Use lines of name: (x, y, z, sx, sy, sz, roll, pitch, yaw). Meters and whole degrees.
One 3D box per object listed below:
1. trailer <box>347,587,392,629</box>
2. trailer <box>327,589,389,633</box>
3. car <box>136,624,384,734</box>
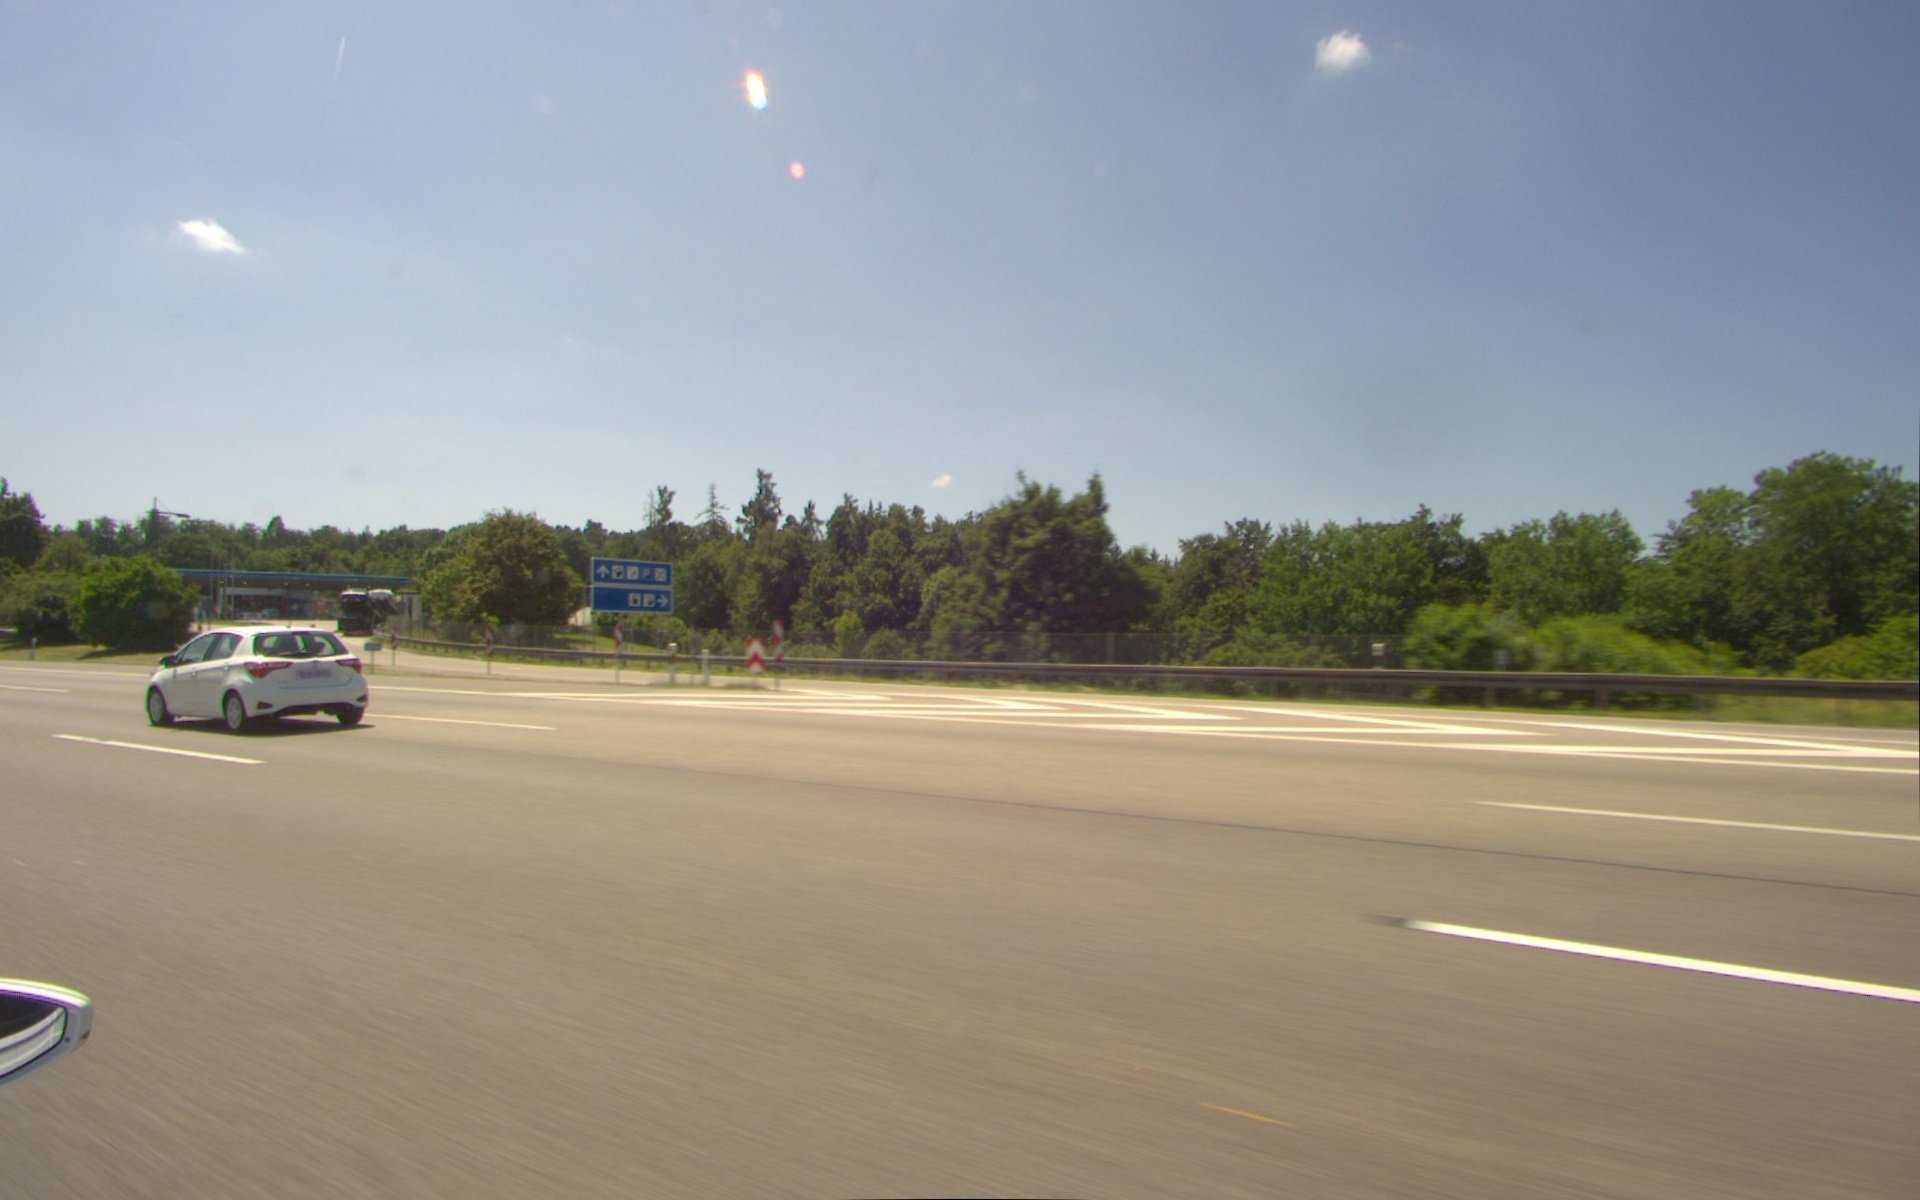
trailer: (-57.108, 0.751, 96.901, 3.040, 3.951, 5.941, 0, 0, -24)
trailer: (-54.234, 0.883, 90.571, 3.118, 3.686, 13.570, 0, 0, -24)
car: (-10.687, 1.100, 15.190, 4.315, 1.452, 1.662, -1, -1, 34)
